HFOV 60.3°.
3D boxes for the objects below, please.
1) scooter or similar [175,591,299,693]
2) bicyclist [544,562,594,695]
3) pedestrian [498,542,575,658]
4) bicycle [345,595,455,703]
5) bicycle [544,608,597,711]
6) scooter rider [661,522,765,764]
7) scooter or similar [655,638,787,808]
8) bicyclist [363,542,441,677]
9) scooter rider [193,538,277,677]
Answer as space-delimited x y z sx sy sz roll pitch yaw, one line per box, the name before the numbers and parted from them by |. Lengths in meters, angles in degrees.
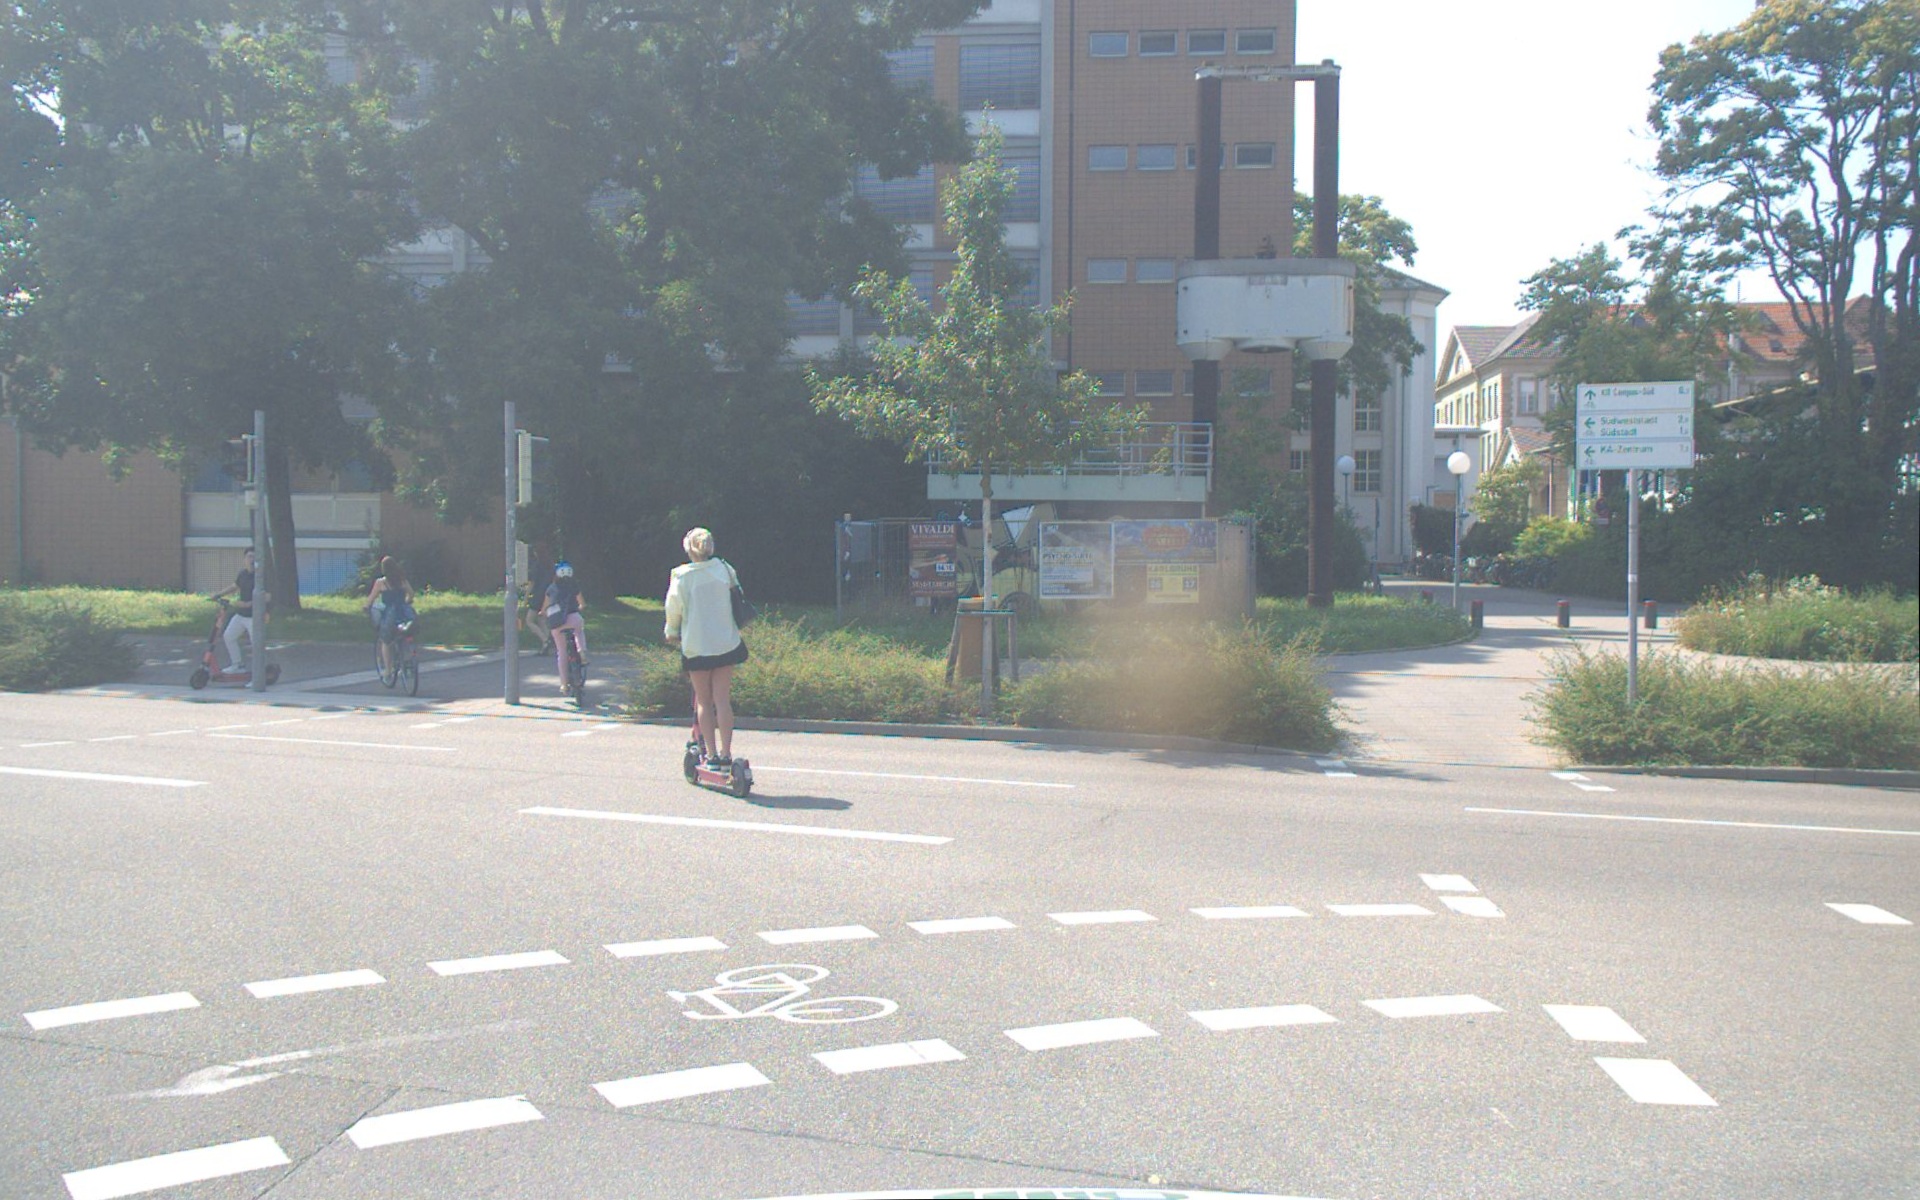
scooter or similar | -9.463 0.531 21.673 1.357 1.255 0.576 -2 3 -44
bicyclist | -4.609 0.321 19.475 0.539 1.522 0.800 0 1 -15
pedestrian | -6.486 -0.019 25.364 0.858 1.734 0.708 1 3 23
bicycle | -7.130 0.588 20.991 0.688 1.174 2.343 -3 4 -34
bicycle | -4.620 0.676 19.541 0.547 1.078 1.996 0 2 -15
scooter rider | -1.826 0.299 12.192 0.661 1.729 0.536 0 1 -21
scooter or similar | -1.781 0.845 12.088 0.548 1.078 1.992 0 0 -21
bicyclist | -7.020 0.098 20.785 0.685 1.626 0.834 -3 4 -35
scooter rider | -9.458 0.076 21.583 0.799 1.769 0.678 -2 3 -43
